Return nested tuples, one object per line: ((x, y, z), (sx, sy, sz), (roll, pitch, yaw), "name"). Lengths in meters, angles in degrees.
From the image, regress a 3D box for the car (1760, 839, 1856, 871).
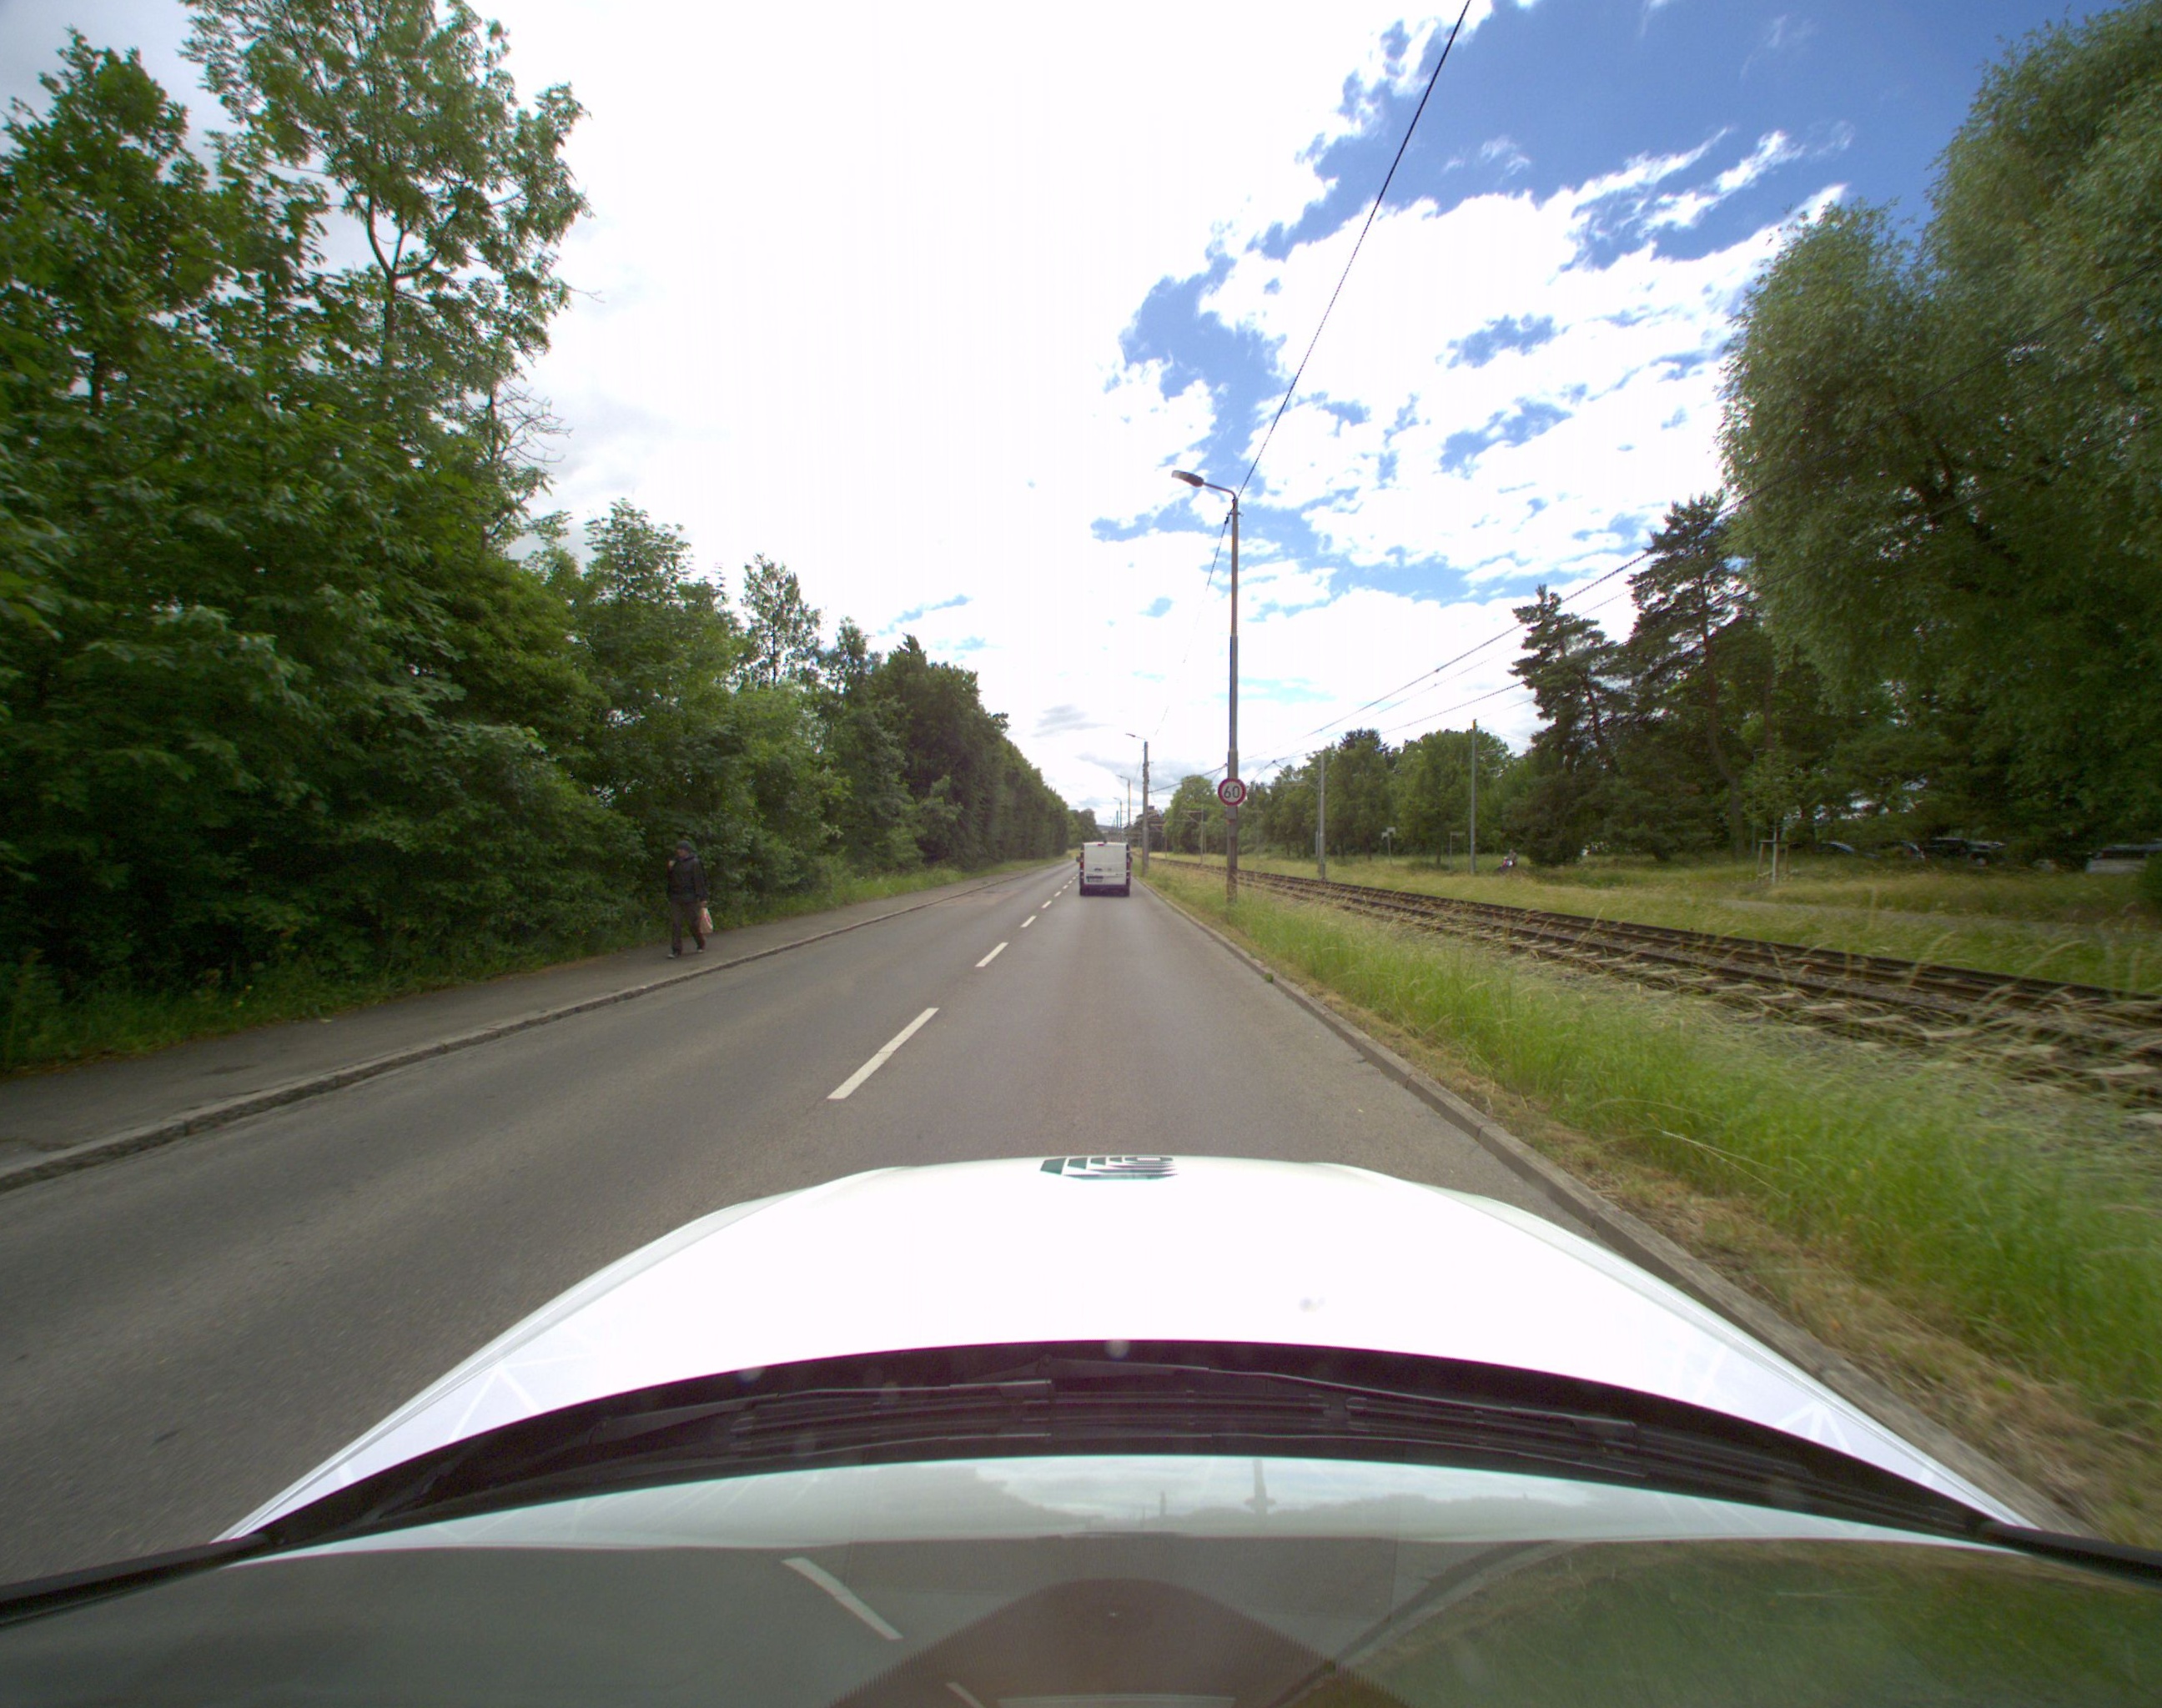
((42.534, 0.058, 47.751), (1.744, 1.803, 3.985), (0, 0, -11), "car")

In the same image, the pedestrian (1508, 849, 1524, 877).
((26.460, 0.557, 49.553), (0.650, 1.667, 0.964), (-1, -1, 42), "pedestrian")

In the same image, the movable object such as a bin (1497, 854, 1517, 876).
((25.412, 0.648, 48.615), (0.652, 1.310, 1.653), (-1, 0, 42), "movable object such as a bin")

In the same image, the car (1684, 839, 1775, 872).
((37.875, 0.069, 47.678), (1.744, 1.803, 3.985), (0, 0, -11), "car")

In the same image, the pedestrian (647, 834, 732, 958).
((-5.787, 0.597, 12.076), (0.866, 1.769, 0.789), (1, 0, -3), "pedestrian")

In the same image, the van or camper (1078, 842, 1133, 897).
((0.981, 0.557, 31.092), (1.934, 1.897, 4.288), (-1, 0, 3), "van or camper")
